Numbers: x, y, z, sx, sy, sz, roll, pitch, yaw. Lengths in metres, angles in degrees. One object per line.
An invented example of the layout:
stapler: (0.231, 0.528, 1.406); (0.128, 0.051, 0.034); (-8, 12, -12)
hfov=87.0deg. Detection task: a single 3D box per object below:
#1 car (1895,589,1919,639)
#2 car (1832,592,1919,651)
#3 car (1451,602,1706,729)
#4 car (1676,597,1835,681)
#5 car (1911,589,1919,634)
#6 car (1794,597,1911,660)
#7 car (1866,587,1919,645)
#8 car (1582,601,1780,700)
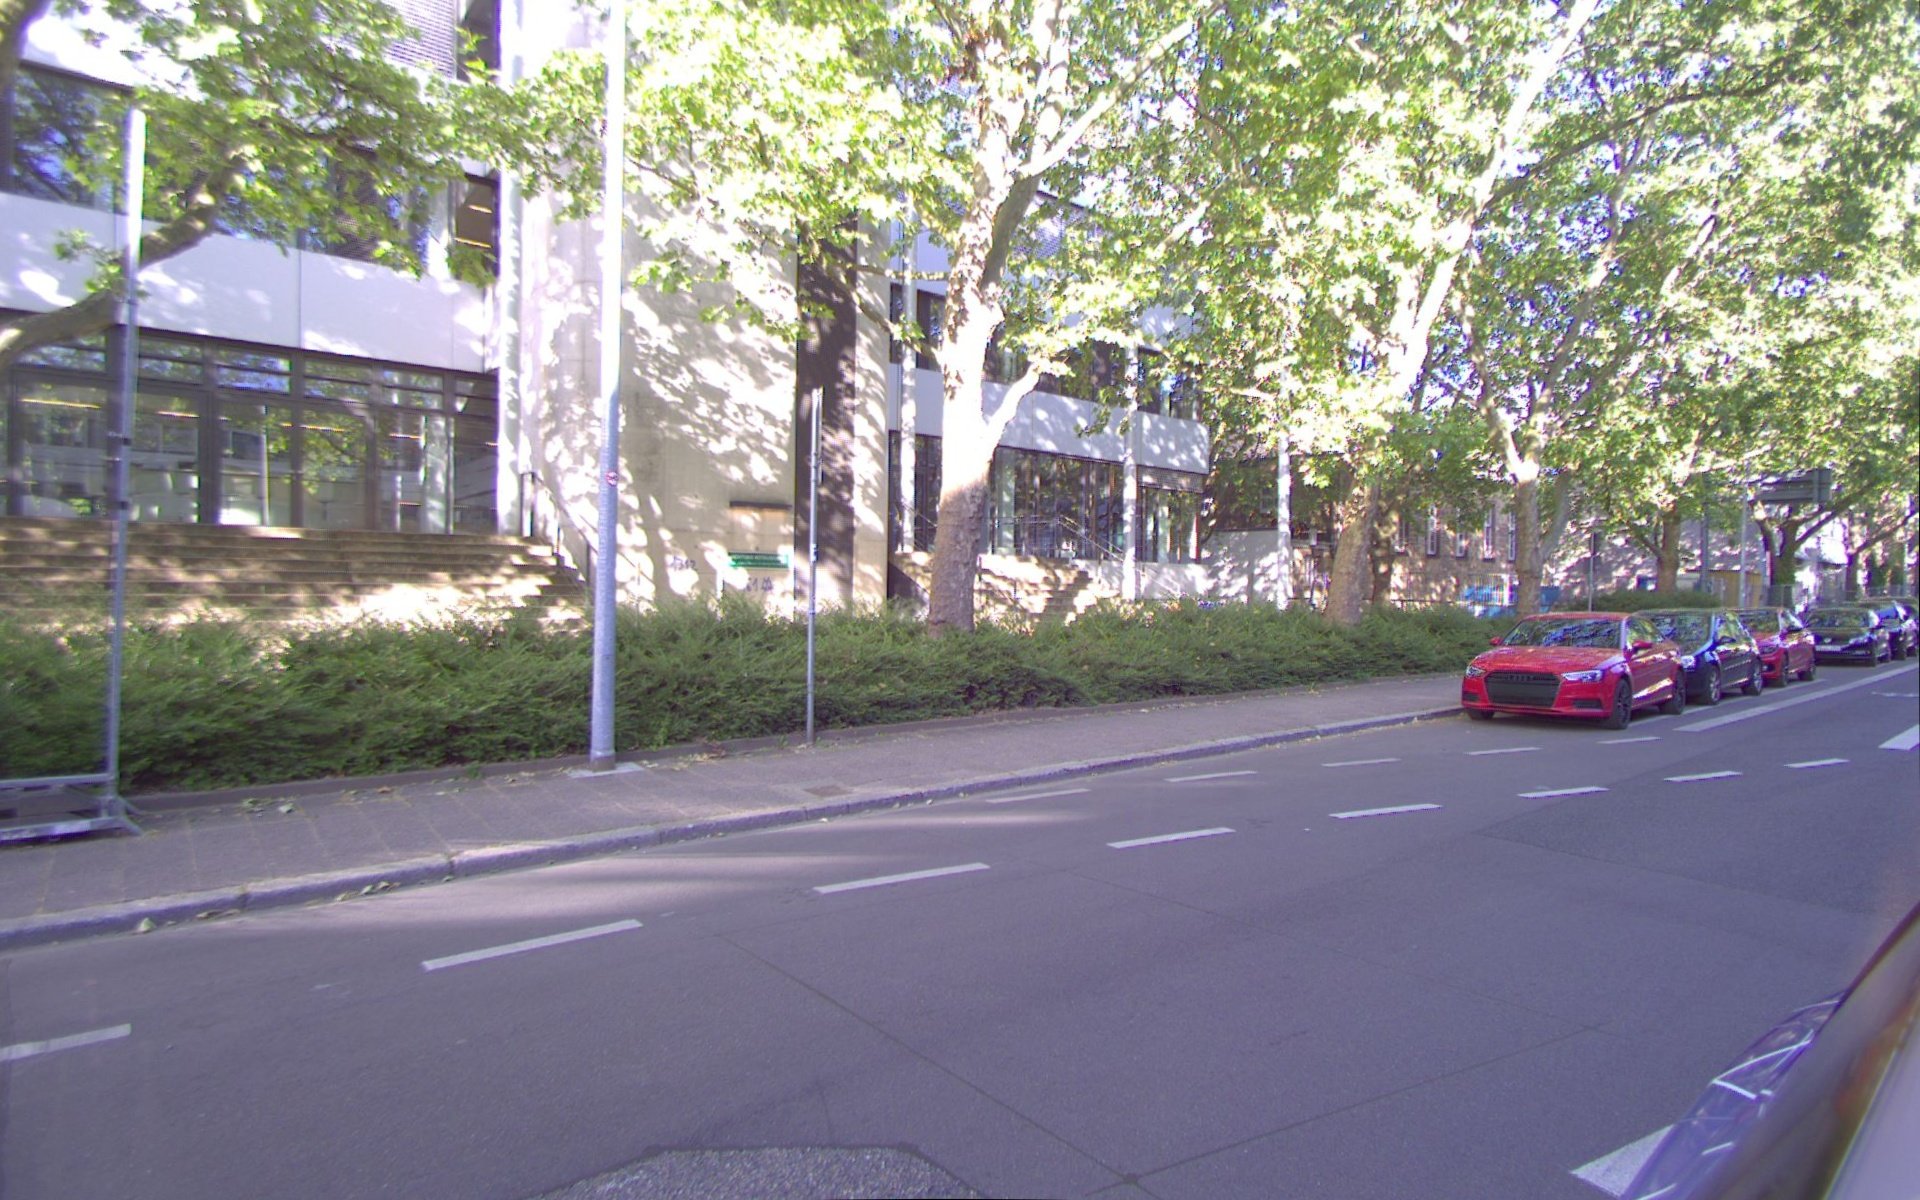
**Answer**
car: (35.912, 0.482, 37.245); (4.475, 1.777, 1.788); (0, -1, -42)
car: (26.598, 0.588, 29.127); (4.092, 1.573, 1.788); (0, -1, -42)
car: (8.362, 0.753, 13.542); (4.092, 1.431, 1.815); (0, -1, -42)
car: (15.861, 0.700, 20.103); (4.092, 1.502, 1.815); (0, -1, -42)
car: (39.630, 0.437, 40.395); (4.475, 1.777, 2.040); (0, -1, -42)
car: (23.053, 0.679, 26.095); (4.092, 1.478, 1.788); (0, -1, -42)
car: (31.059, 0.487, 33.009); (4.271, 1.777, 1.788); (0, -1, -42)
car: (11.955, 0.738, 16.682); (4.092, 1.431, 1.815); (0, -1, -42)
